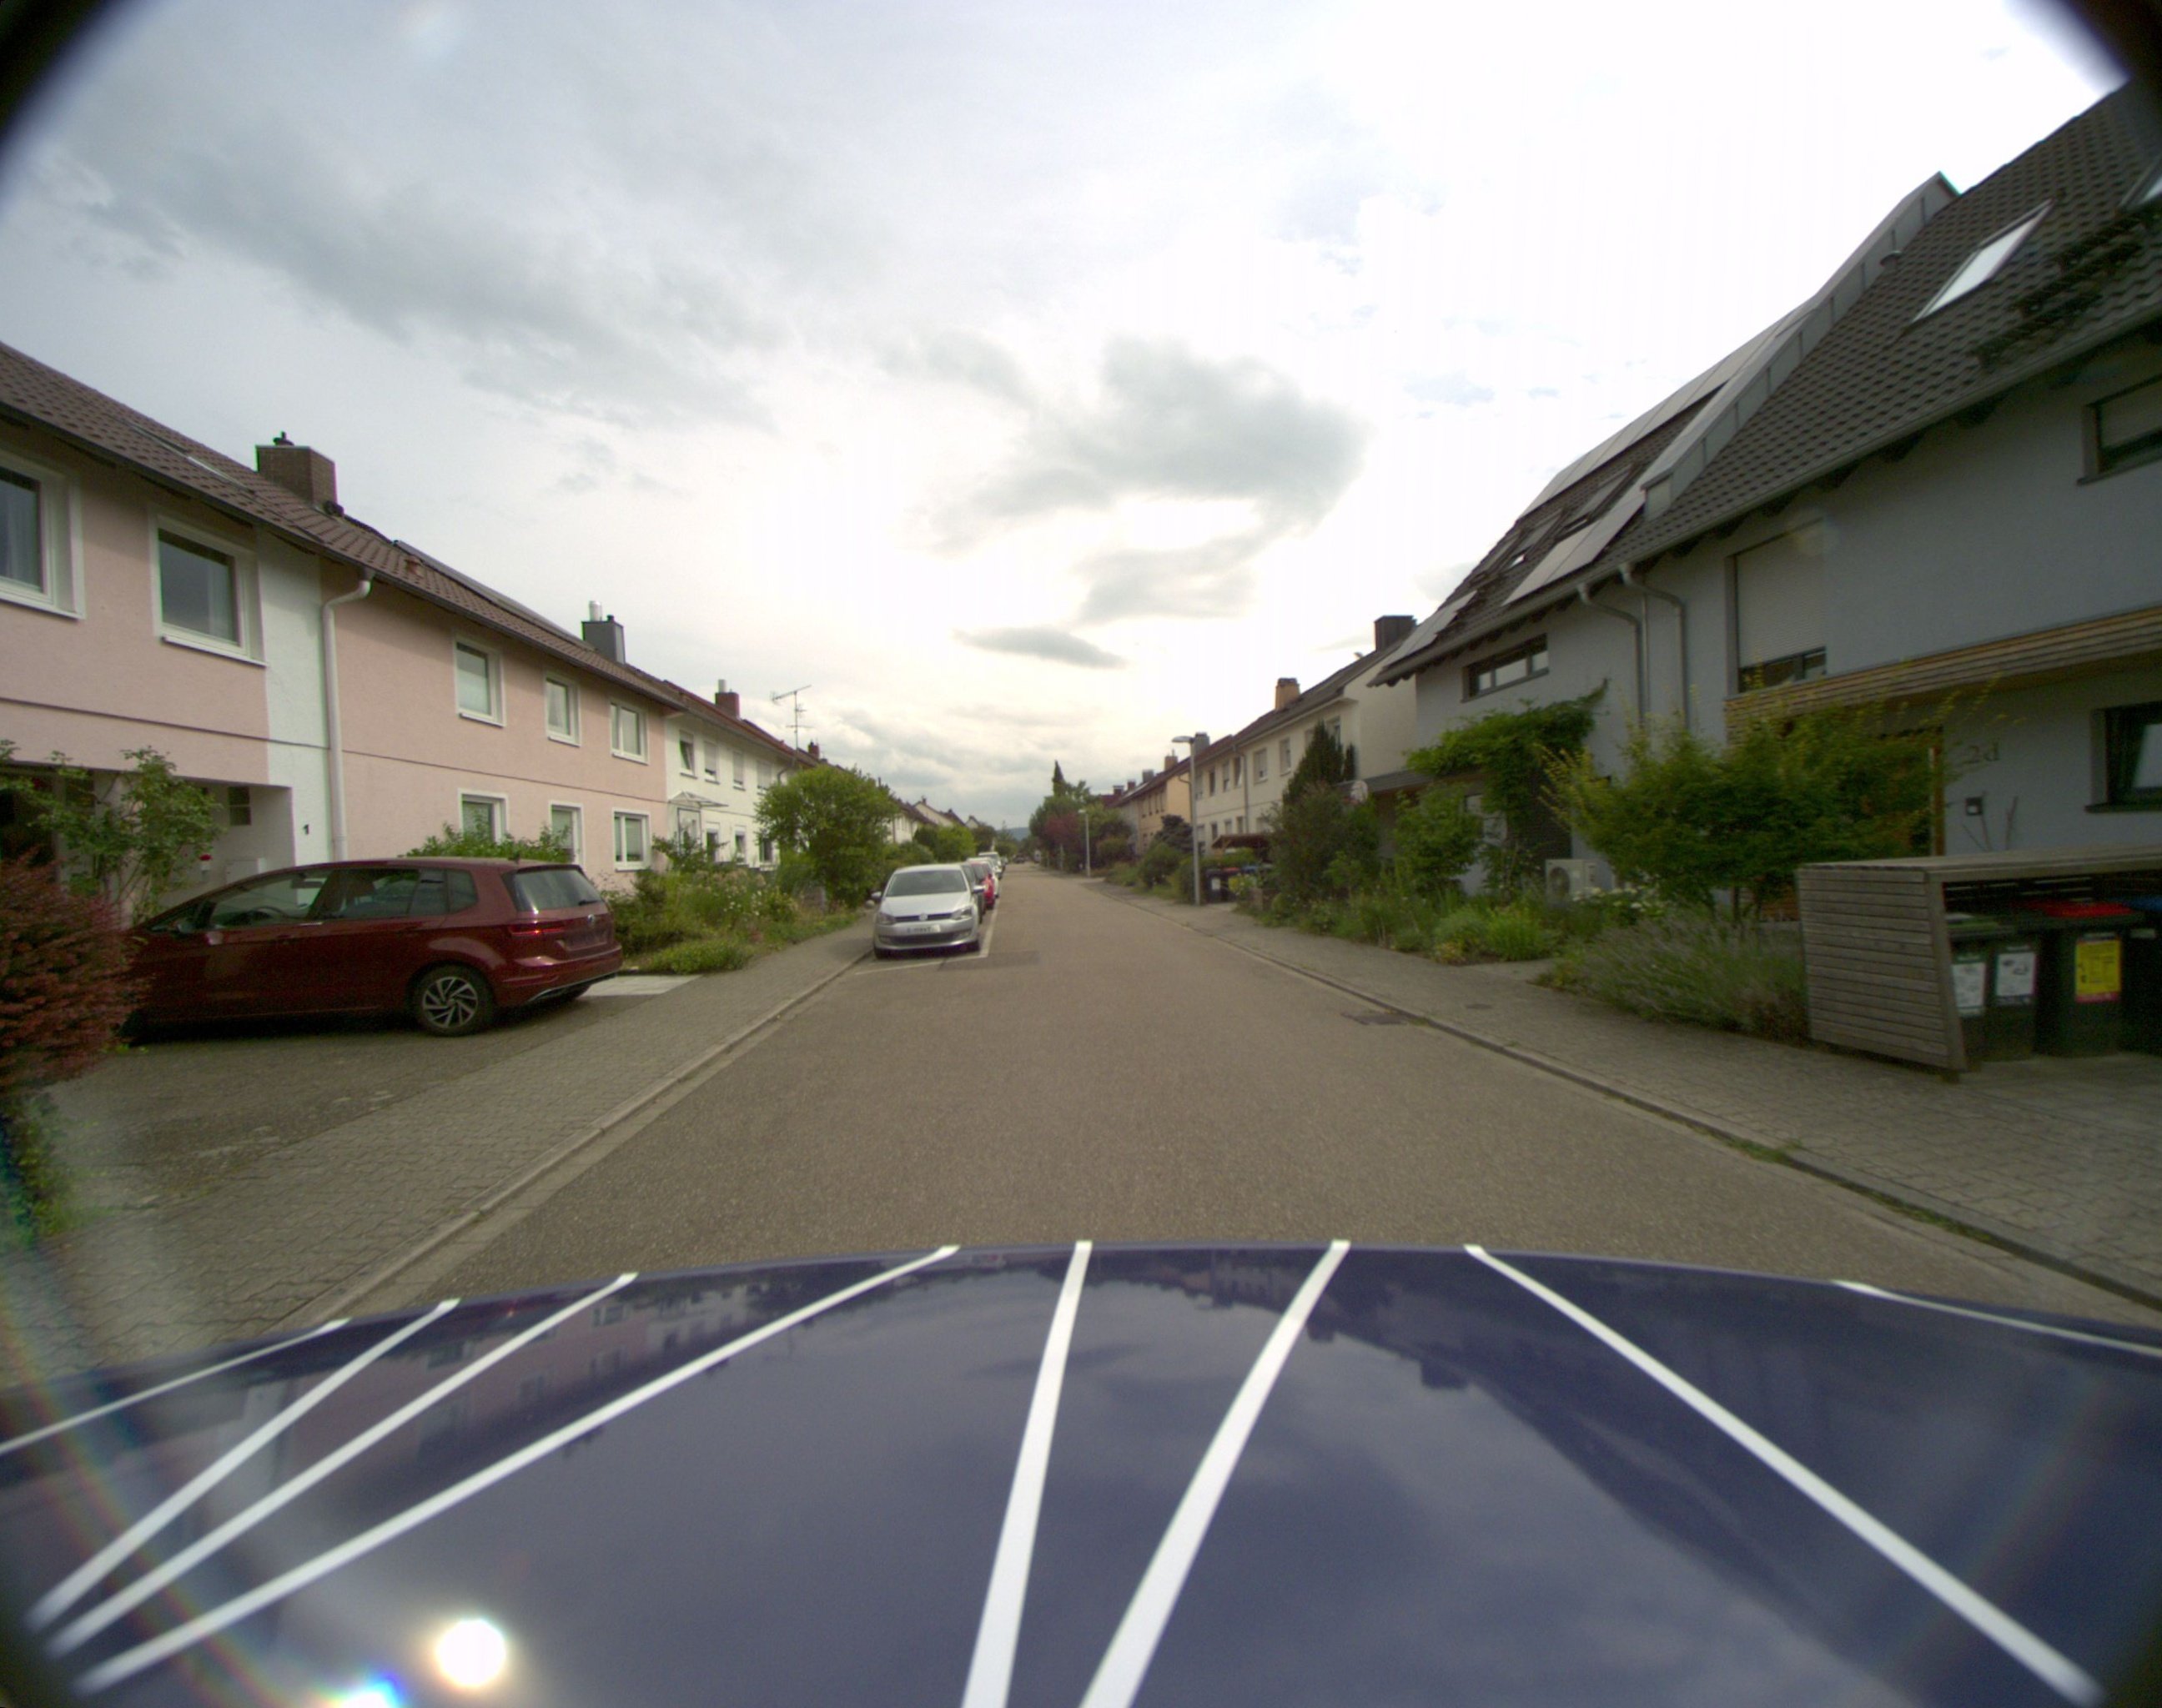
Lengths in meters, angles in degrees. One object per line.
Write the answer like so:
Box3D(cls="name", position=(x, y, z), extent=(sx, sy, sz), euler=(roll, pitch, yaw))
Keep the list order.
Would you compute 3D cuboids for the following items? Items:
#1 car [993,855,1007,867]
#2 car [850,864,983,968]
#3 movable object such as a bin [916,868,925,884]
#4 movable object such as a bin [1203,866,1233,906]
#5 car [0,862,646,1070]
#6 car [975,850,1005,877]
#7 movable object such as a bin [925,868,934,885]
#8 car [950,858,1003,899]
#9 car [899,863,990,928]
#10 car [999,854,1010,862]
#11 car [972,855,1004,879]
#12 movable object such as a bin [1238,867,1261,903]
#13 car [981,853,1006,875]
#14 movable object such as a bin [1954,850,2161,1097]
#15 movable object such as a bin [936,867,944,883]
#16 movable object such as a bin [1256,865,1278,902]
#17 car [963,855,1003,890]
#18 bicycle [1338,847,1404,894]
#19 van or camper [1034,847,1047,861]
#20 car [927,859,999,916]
Box3D(cls="car", position=(-10.170, 0.830, 95.700), extent=(1.754, 1.458, 4.645), euler=(-2, 0, -6))
Box3D(cls="car", position=(-2.709, 0.945, 13.393), extent=(1.870, 1.408, 4.250), euler=(-2, 0, -7))
Box3D(cls="movable object such as a bin", position=(-9.341, 1.278, 44.223), extent=(0.432, 0.916, 0.464), euler=(-3, 1, -10))
Box3D(cls="movable object such as a bin", position=(3.755, 0.869, 20.869), extent=(0.604, 1.021, 0.664), euler=(-4, 1, -4))
Box3D(cls="car", position=(-6.853, 0.915, 7.195), extent=(4.282, 1.551, 1.934), euler=(-1, 0, -5))
Box3D(cls="car", position=(-6.800, 0.683, 56.729), extent=(2.027, 1.936, 4.744), euler=(-2, 0, -7))
Box3D(cls="movable object such as a bin", position=(-8.838, 1.306, 44.303), extent=(0.432, 0.916, 0.464), euler=(-3, 1, -10))
Box3D(cls="car", position=(-4.075, 0.894, 29.675), extent=(1.844, 1.404, 4.633), euler=(-2, 0, -8))
Box3D(cls="car", position=(-3.245, 0.937, 18.862), extent=(1.778, 1.348, 4.263), euler=(-2, 0, -5))
Box3D(cls="car", position=(-16.218, 0.741, 160.523), extent=(2.000, 1.590, 3.997), euler=(-2, 0, -8))
Box3D(cls="car", position=(-6.270, 0.850, 51.656), extent=(1.906, 1.451, 4.127), euler=(-2, 0, -5))
Box3D(cls="movable object such as a bin", position=(4.611, 0.850, 20.825), extent=(0.468, 0.950, 0.467), euler=(-2, 1, -4))
Box3D(cls="car", position=(-7.177, 0.789, 61.713), extent=(1.816, 1.641, 4.407), euler=(-2, 0, -9))
Box3D(cls="movable object such as a bin", position=(6.386, 0.659, 4.626), extent=(0.952, 1.304, 1.000), euler=(-4, 1, -6))
Box3D(cls="movable object such as a bin", position=(-8.249, 1.242, 44.415), extent=(0.409, 0.916, 0.420), euler=(-2, 1, -10))
Box3D(cls="movable object such as a bin", position=(5.091, 0.803, 20.840), extent=(0.449, 0.998, 0.467), euler=(-1, 1, -4))
Box3D(cls="car", position=(-4.754, 0.864, 37.150), extent=(1.719, 1.535, 3.971), euler=(-4, 0, -6))
Box3D(cls="bicycle", position=(7.963, 0.444, 20.856), extent=(1.813, 1.144, 0.425), euler=(-5, 2, -20))
Box3D(cls="van or camper", position=(-8.096, -0.049, 151.565), extent=(2.347, 2.719, 5.745), euler=(-2, 0, -5))
Box3D(cls="car", position=(-3.555, 0.953, 23.686), extent=(1.779, 1.427, 4.823), euler=(-4, 1, -5))
